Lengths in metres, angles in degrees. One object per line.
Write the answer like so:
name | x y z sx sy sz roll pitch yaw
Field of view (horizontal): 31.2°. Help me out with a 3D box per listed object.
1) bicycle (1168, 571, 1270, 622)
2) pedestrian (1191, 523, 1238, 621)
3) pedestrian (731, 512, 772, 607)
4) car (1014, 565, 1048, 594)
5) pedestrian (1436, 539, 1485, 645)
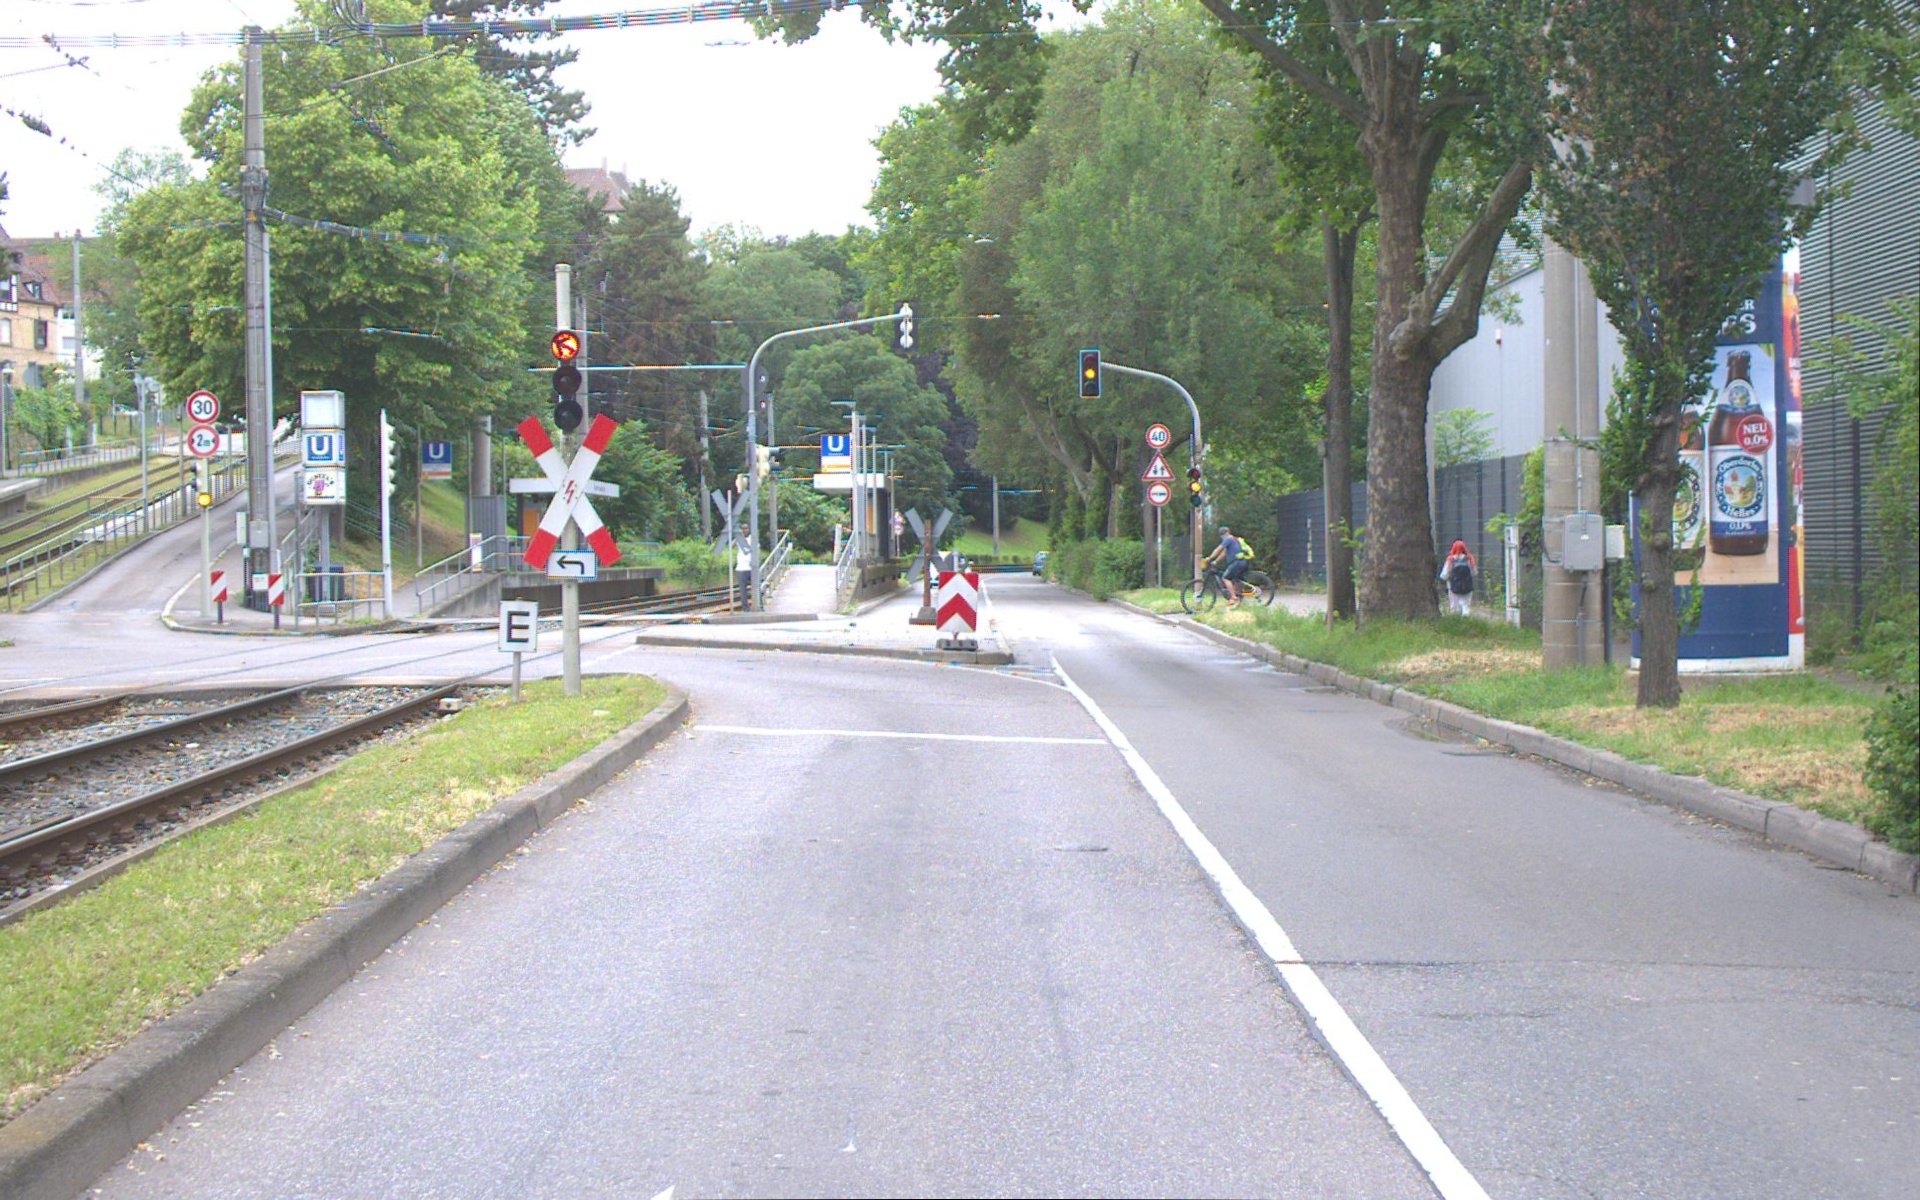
bicycle | 5.350 -0.074 70.971 2.075 1.003 0.668 -1 1 6
pedestrian | 5.257 -0.572 70.951 0.931 2.007 0.668 -1 1 5
pedestrian | -4.074 -0.797 67.176 0.768 1.846 0.910 -1 1 -3
car | 4.595 -1.348 223.665 1.993 1.809 4.001 -1 2 -1
pedestrian | 7.432 -0.126 51.063 0.666 1.548 0.934 -1 1 6
